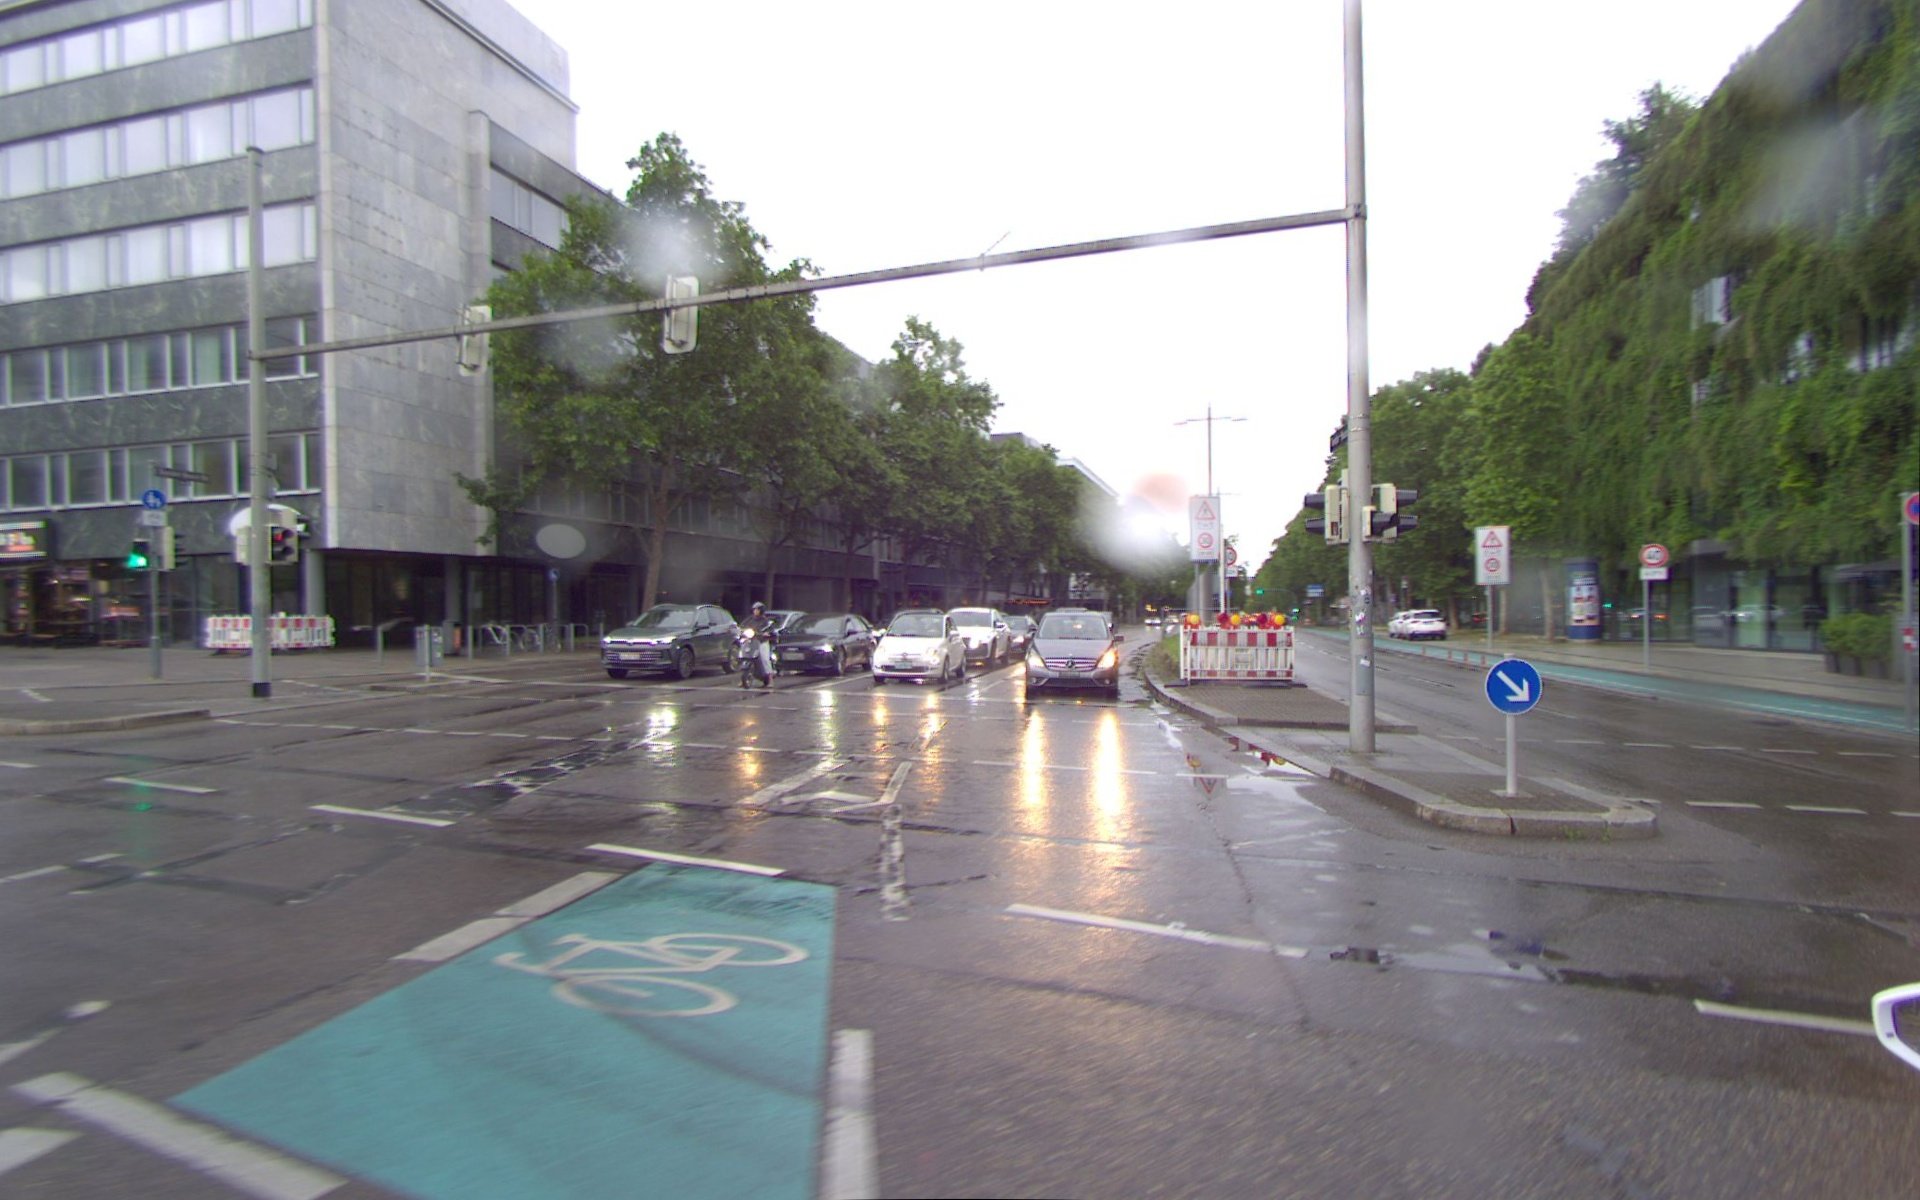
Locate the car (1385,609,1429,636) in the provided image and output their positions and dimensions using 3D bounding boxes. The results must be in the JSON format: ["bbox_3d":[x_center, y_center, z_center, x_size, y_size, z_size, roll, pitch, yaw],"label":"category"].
[{"bbox_3d":[28.777,1.432,64.813,1.812,1.654,4.788,-1,-1,15],"label":"car"}]

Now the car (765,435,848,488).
[{"bbox_3d":[-5.921,-5.332,39.154,1.959,1.405,3.980,0,-1,11],"label":"car"}]

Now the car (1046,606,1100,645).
[{"bbox_3d":[5.621,1.222,49.389,1.805,1.790,5.110,-1,-1,16],"label":"car"}]

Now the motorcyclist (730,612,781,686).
[{"bbox_3d":[-4.016,0.949,19.768,0.773,1.410,0.734,0,0,7],"label":"motorcyclist"}]

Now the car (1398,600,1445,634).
[{"bbox_3d":[26.891,0.989,58.673,1.813,1.862,5.095,-2,-1,17],"label":"car"}]

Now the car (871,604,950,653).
[{"bbox_3d":[-1.611,0.943,34.152,1.723,1.586,4.003,0,-1,12],"label":"car"}]

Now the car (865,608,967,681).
[{"bbox_3d":[-0.913,0.944,22.567,1.688,1.495,3.433,0,-1,8],"label":"car"}]

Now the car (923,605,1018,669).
[{"bbox_3d":[0.404,1.008,29.078,1.845,1.707,4.801,0,-1,12],"label":"car"}]

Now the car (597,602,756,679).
[{"bbox_3d":[-6.581,0.907,23.881,1.727,1.639,4.665,0,-1,11],"label":"car"}]

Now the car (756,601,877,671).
[{"bbox_3d":[-3.444,0.855,24.987,1.805,1.586,4.226,0,-1,9],"label":"car"}]

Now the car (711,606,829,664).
[{"bbox_3d":[-5.658,1.025,30.577,1.959,1.625,4.591,0,-1,11],"label":"car"}]

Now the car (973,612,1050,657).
[{"bbox_3d":[1.898,1.182,35.351,1.812,1.470,4.919,-1,-1,14],"label":"car"}]

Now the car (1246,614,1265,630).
[{"bbox_3d":[29.060,2.160,98.747,1.593,1.491,4.002,0,-1,14],"label":"car"}]

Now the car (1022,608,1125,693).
[{"bbox_3d":[2.325,0.927,20.017,1.812,1.501,4.167,0,-1,8],"label":"car"}]

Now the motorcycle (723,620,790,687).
[{"bbox_3d":[-3.998,1.031,19.931,0.706,1.244,2.045,0,-1,7],"label":"motorcycle"}]

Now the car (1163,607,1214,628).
[{"bbox_3d":[20.301,1.528,89.437,1.979,1.813,4.198,1,-1,-34],"label":"car"}]

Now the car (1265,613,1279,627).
[{"bbox_3d":[40.777,2.629,131.404,1.593,1.688,4.002,-2,-1,15],"label":"car"}]
